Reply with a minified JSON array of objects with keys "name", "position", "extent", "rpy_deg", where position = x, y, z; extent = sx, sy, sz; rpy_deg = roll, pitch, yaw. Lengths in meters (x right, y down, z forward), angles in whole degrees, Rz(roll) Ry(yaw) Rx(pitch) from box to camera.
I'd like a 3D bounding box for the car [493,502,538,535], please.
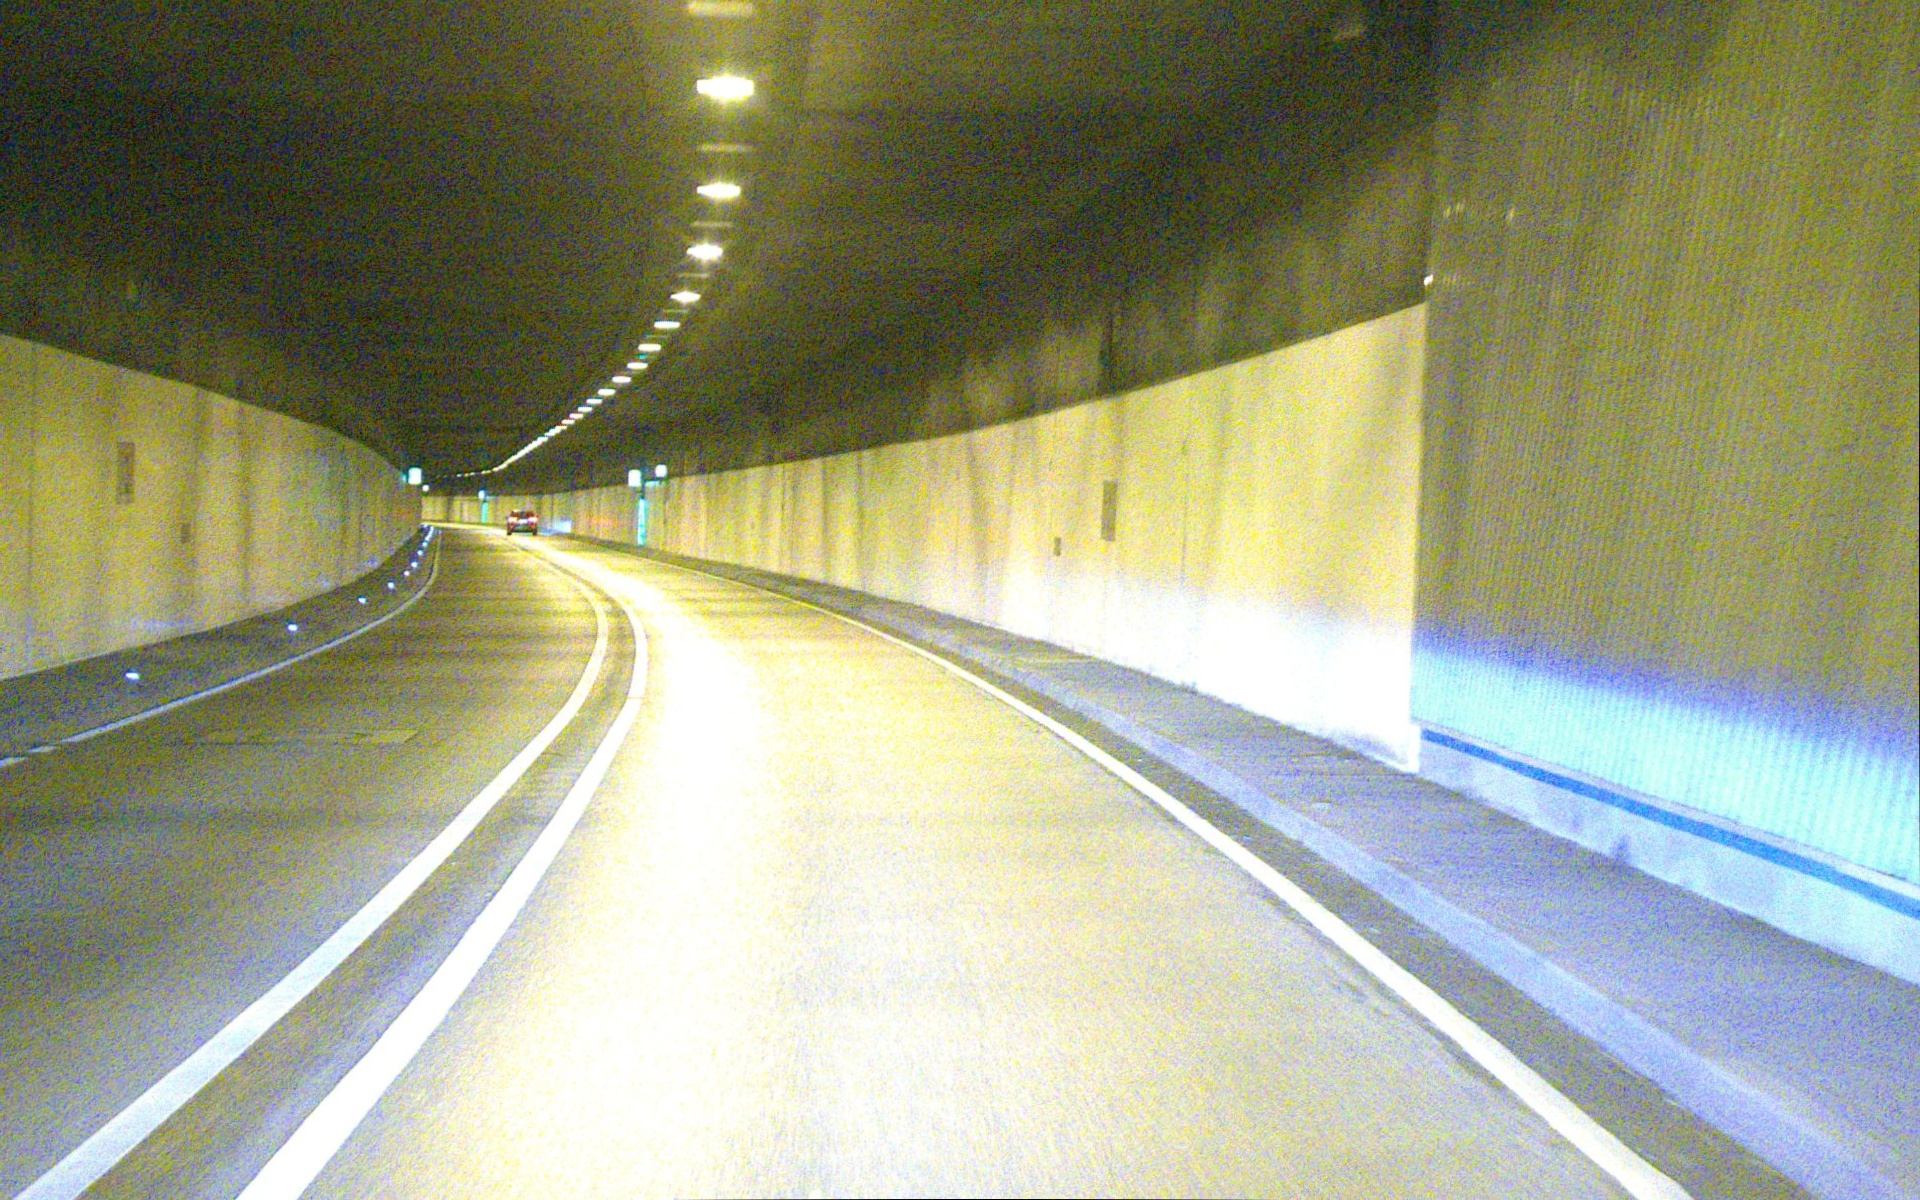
[{"name":"car","position":[-27.316,-5.000,211.268],"extent":[1.966,1.932,4.614],"rpy_deg":[3,0,-16]}]
